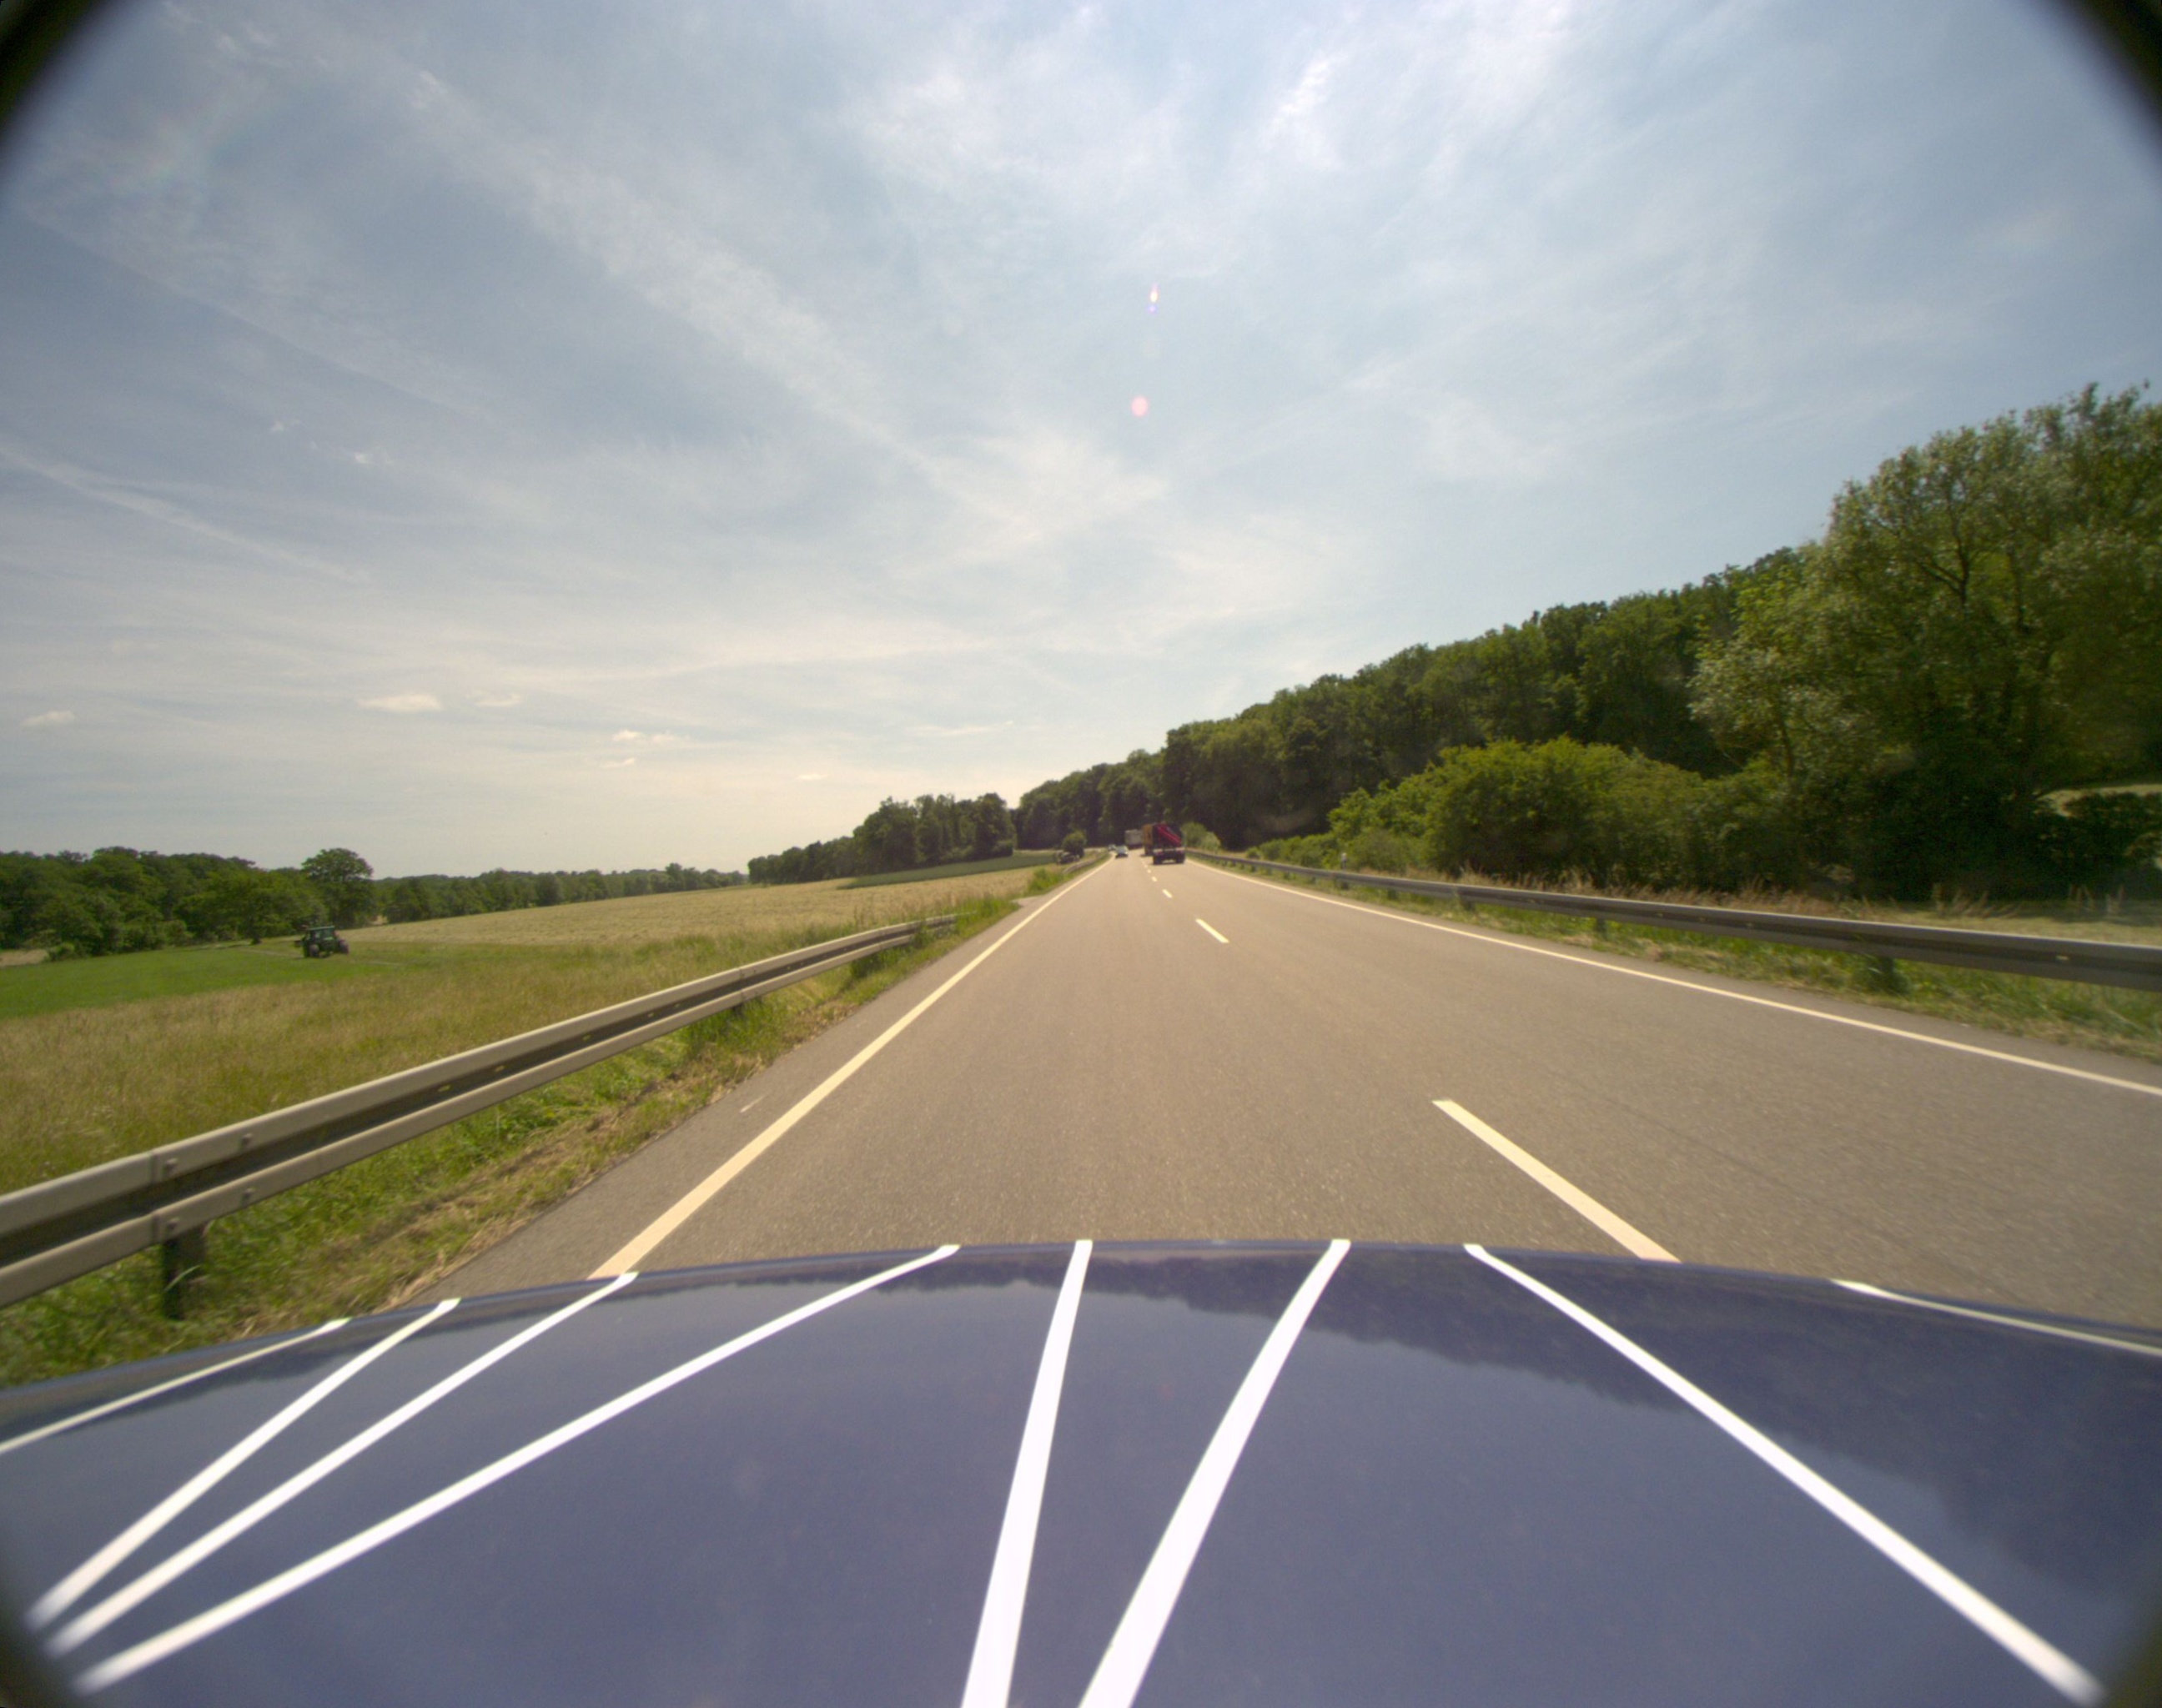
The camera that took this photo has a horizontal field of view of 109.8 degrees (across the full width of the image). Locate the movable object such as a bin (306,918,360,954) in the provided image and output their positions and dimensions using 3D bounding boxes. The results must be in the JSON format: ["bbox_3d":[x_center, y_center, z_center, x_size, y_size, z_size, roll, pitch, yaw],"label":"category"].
[{"bbox_3d":[-67.969,7.453,68.992,6.211,2.854,1.956,-4,1,32],"label":"movable object such as a bin"}]

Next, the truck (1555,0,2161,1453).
[{"bbox_3d":[4.403,-0.695,1.542,3.382,4.375,5.444,-1,1,-1],"label":"truck"}]
